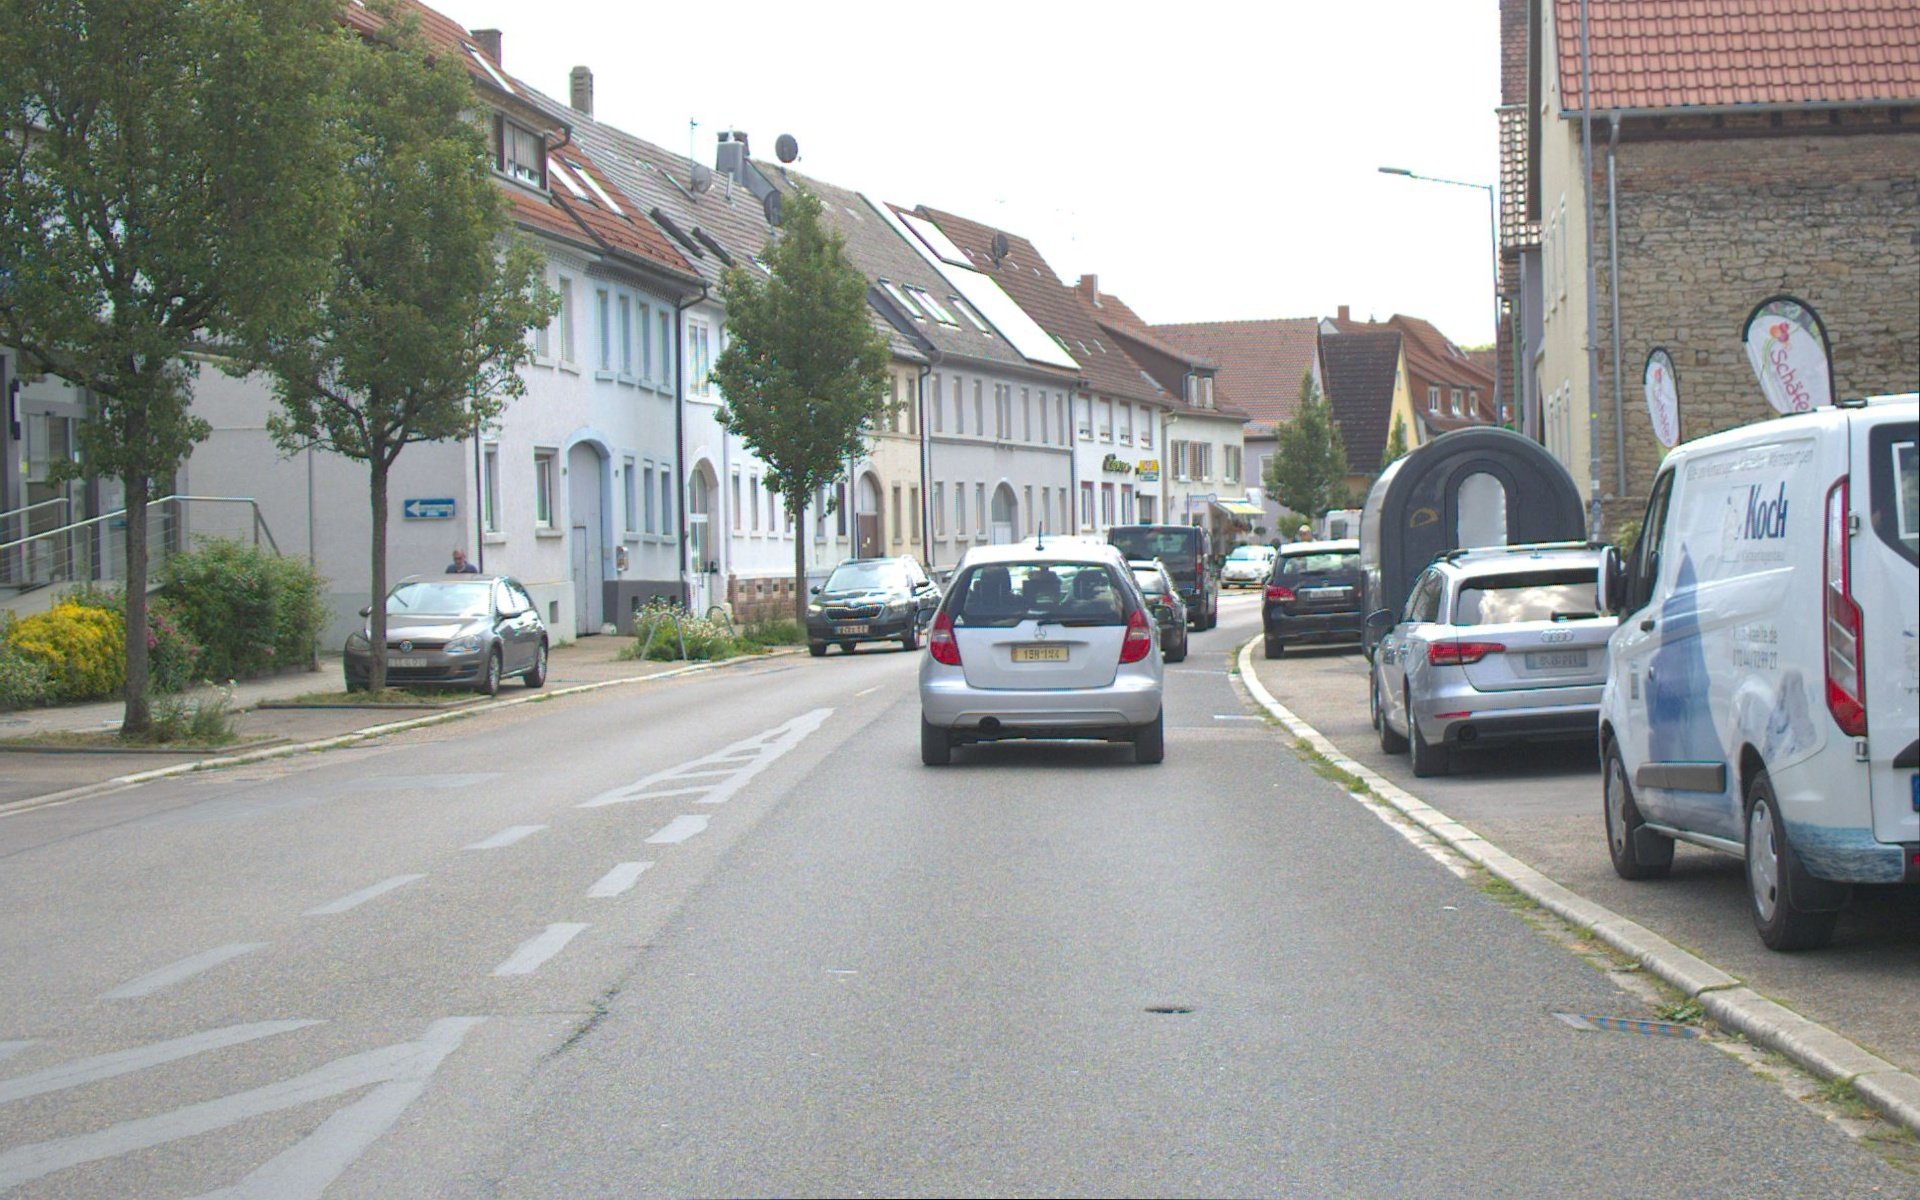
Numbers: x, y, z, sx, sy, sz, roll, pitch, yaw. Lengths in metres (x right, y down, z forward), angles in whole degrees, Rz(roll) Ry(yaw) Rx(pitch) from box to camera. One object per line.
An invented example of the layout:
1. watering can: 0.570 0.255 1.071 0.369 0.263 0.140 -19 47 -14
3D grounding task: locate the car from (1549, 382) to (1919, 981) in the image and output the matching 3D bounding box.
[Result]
1. car: 3.776 0.191 13.961 1.892 1.975 4.931 -4 1 1

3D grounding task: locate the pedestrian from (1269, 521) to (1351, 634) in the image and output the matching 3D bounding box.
1. pedestrian: 5.781 -0.376 56.728 1.096 1.815 1.468 -2 1 14

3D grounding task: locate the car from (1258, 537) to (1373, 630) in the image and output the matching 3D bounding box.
1. car: 6.751 -0.318 64.957 1.861 1.620 4.195 -3 0 9

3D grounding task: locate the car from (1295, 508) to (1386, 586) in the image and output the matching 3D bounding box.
1. car: 11.461 -1.582 103.413 2.237 2.215 3.998 -3 0 12

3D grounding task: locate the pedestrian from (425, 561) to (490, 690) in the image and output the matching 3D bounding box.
1. pedestrian: -7.162 0.363 49.029 0.739 1.795 0.642 -2 0 3

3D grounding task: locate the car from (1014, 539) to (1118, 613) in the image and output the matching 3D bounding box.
1. car: 2.882 -0.654 92.505 2.092 1.877 3.998 -2 1 12

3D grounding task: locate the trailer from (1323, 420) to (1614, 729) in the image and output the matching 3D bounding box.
1. trailer: 4.174 -0.230 28.735 1.845 2.346 3.589 -2 1 1

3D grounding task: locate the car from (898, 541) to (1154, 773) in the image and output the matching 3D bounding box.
1. car: 0.521 0.385 26.000 1.769 1.589 4.000 1 0 2

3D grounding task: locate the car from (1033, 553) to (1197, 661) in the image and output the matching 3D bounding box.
1. car: 2.197 0.079 47.755 1.945 1.402 3.999 1 0 7

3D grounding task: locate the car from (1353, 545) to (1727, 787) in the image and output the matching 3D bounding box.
1. car: 3.887 0.379 23.811 1.875 1.476 4.674 -1 1 1

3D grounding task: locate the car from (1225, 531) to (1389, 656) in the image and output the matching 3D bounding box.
1. car: 4.857 -0.120 47.703 1.994 1.554 3.999 -3 1 9

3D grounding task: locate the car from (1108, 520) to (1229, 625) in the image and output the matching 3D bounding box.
1. car: 3.973 -0.509 64.846 1.769 1.881 4.445 1 0 10

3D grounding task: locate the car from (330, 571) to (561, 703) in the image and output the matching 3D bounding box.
1. car: -6.190 0.414 41.831 1.805 1.455 4.157 -1 1 6

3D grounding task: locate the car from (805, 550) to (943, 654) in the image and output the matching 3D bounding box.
1. car: -1.358 0.005 55.876 1.743 1.521 4.019 -3 1 5

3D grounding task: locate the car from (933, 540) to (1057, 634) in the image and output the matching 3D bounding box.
1. car: 0.739 -0.288 68.541 1.955 1.778 4.651 -1 1 7
